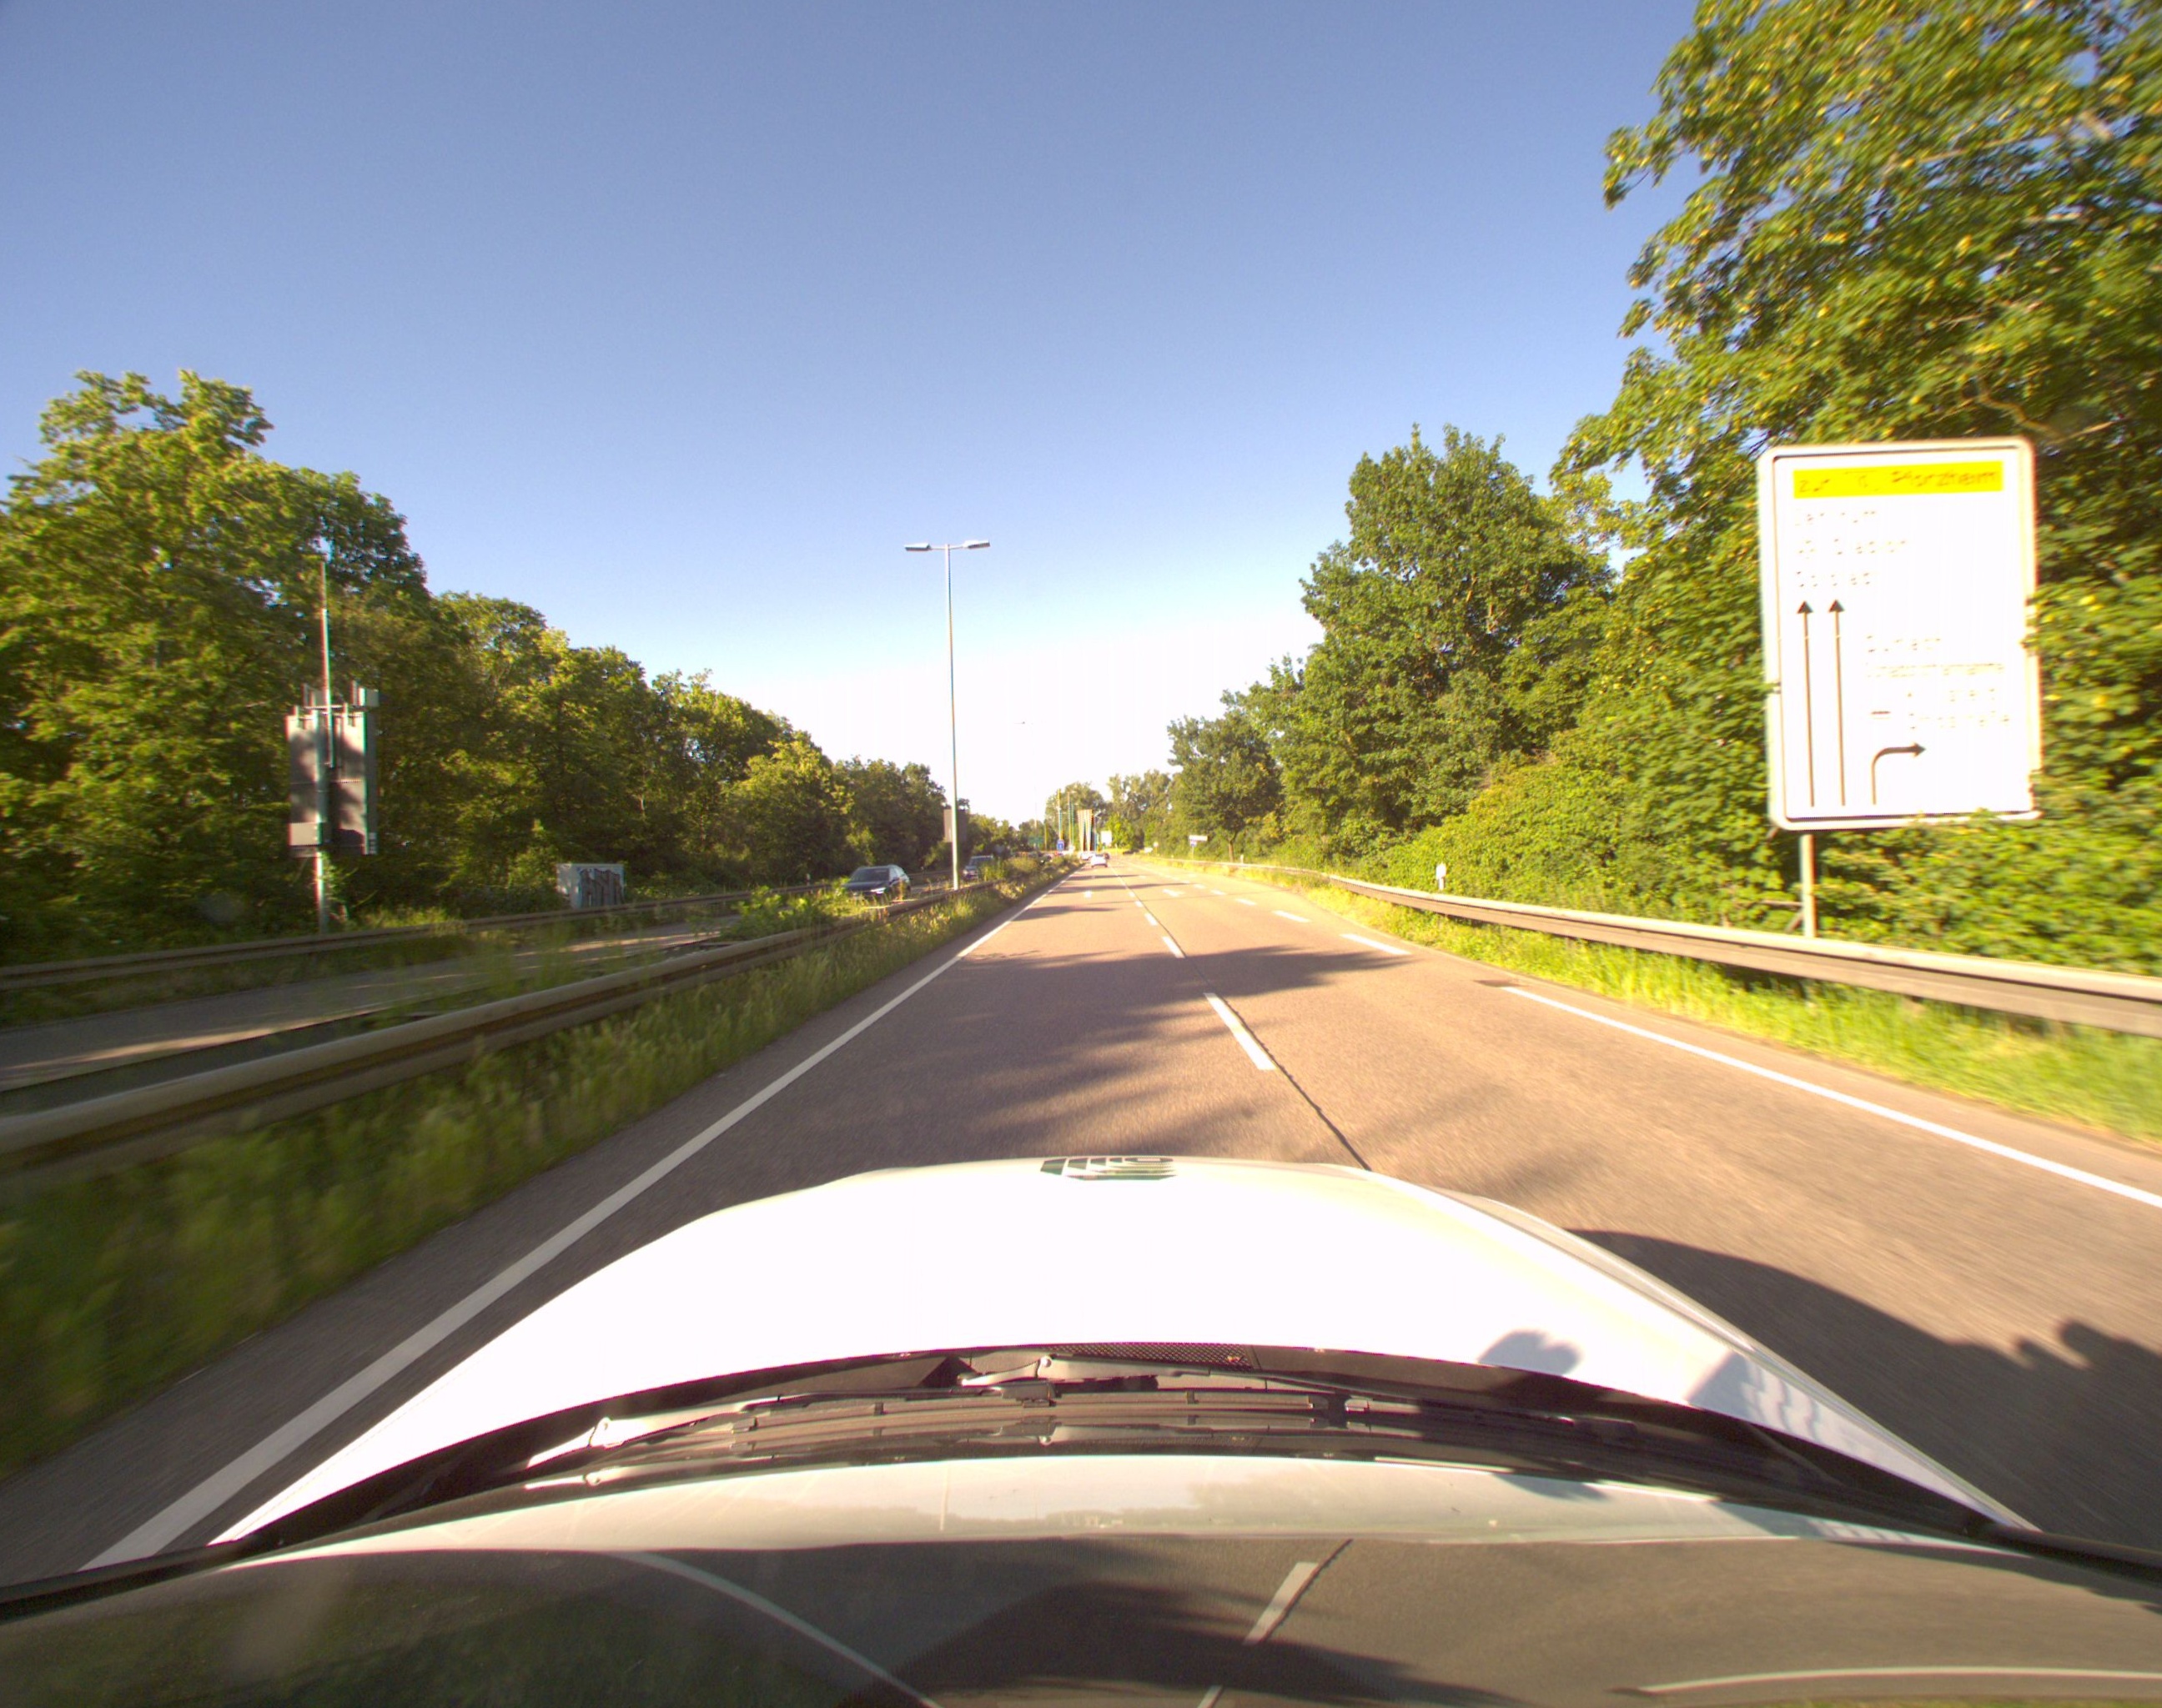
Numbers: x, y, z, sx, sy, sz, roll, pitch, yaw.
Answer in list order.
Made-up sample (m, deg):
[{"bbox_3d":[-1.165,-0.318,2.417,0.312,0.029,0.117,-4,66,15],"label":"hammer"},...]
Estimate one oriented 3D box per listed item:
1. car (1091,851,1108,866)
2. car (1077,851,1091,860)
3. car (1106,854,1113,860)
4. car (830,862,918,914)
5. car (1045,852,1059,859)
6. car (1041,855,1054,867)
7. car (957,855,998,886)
[{"bbox_3d":[2.197,0.483,97.462,1.987,1.640,4.129,-2,1,1],"label":"car"},{"bbox_3d":[0.685,0.302,169.625,1.995,1.879,4.232,-3,1,-12],"label":"car"},{"bbox_3d":[5.866,0.579,166.941,1.383,1.280,2.987,1,-1,1],"label":"car"},{"bbox_3d":[-7.079,1.113,28.346,1.611,1.530,4.612,-2,0,3],"label":"car"},{"bbox_3d":[-7.229,0.321,202.991,2.273,1.508,3.974,-2,0,-19],"label":"car"},{"bbox_3d":[-5.284,1.101,129.426,1.779,1.710,4.548,-2,0,1],"label":"car"},{"bbox_3d":[-6.466,0.999,51.485,1.835,1.757,4.713,-2,0,1],"label":"car"}]
